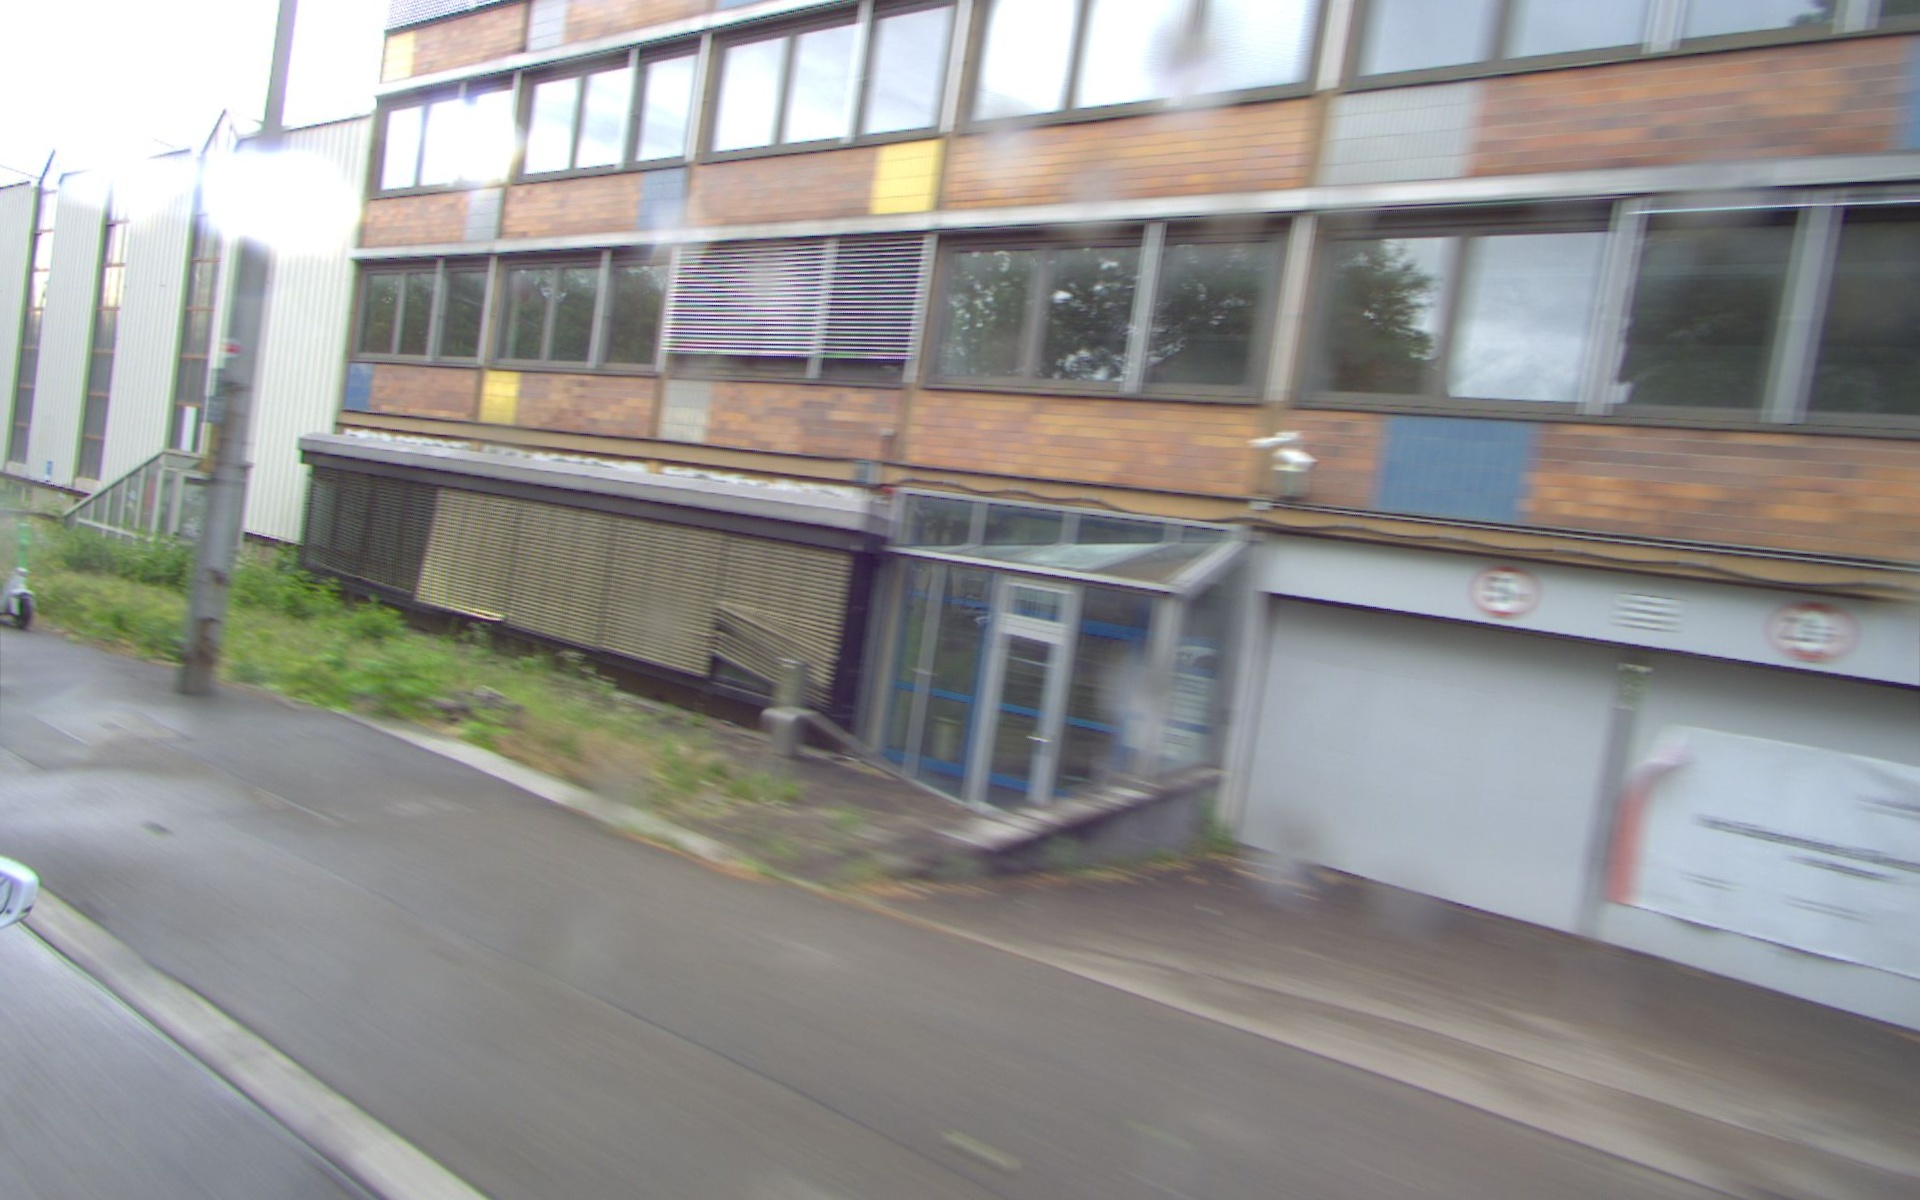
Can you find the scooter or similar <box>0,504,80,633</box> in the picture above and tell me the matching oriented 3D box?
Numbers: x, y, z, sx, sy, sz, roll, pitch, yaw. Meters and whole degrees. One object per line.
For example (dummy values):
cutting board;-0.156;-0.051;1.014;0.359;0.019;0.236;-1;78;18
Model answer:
scooter or similar;-9.690;-0.359;10.139;1.670;1.176;0.606;7;1;27
